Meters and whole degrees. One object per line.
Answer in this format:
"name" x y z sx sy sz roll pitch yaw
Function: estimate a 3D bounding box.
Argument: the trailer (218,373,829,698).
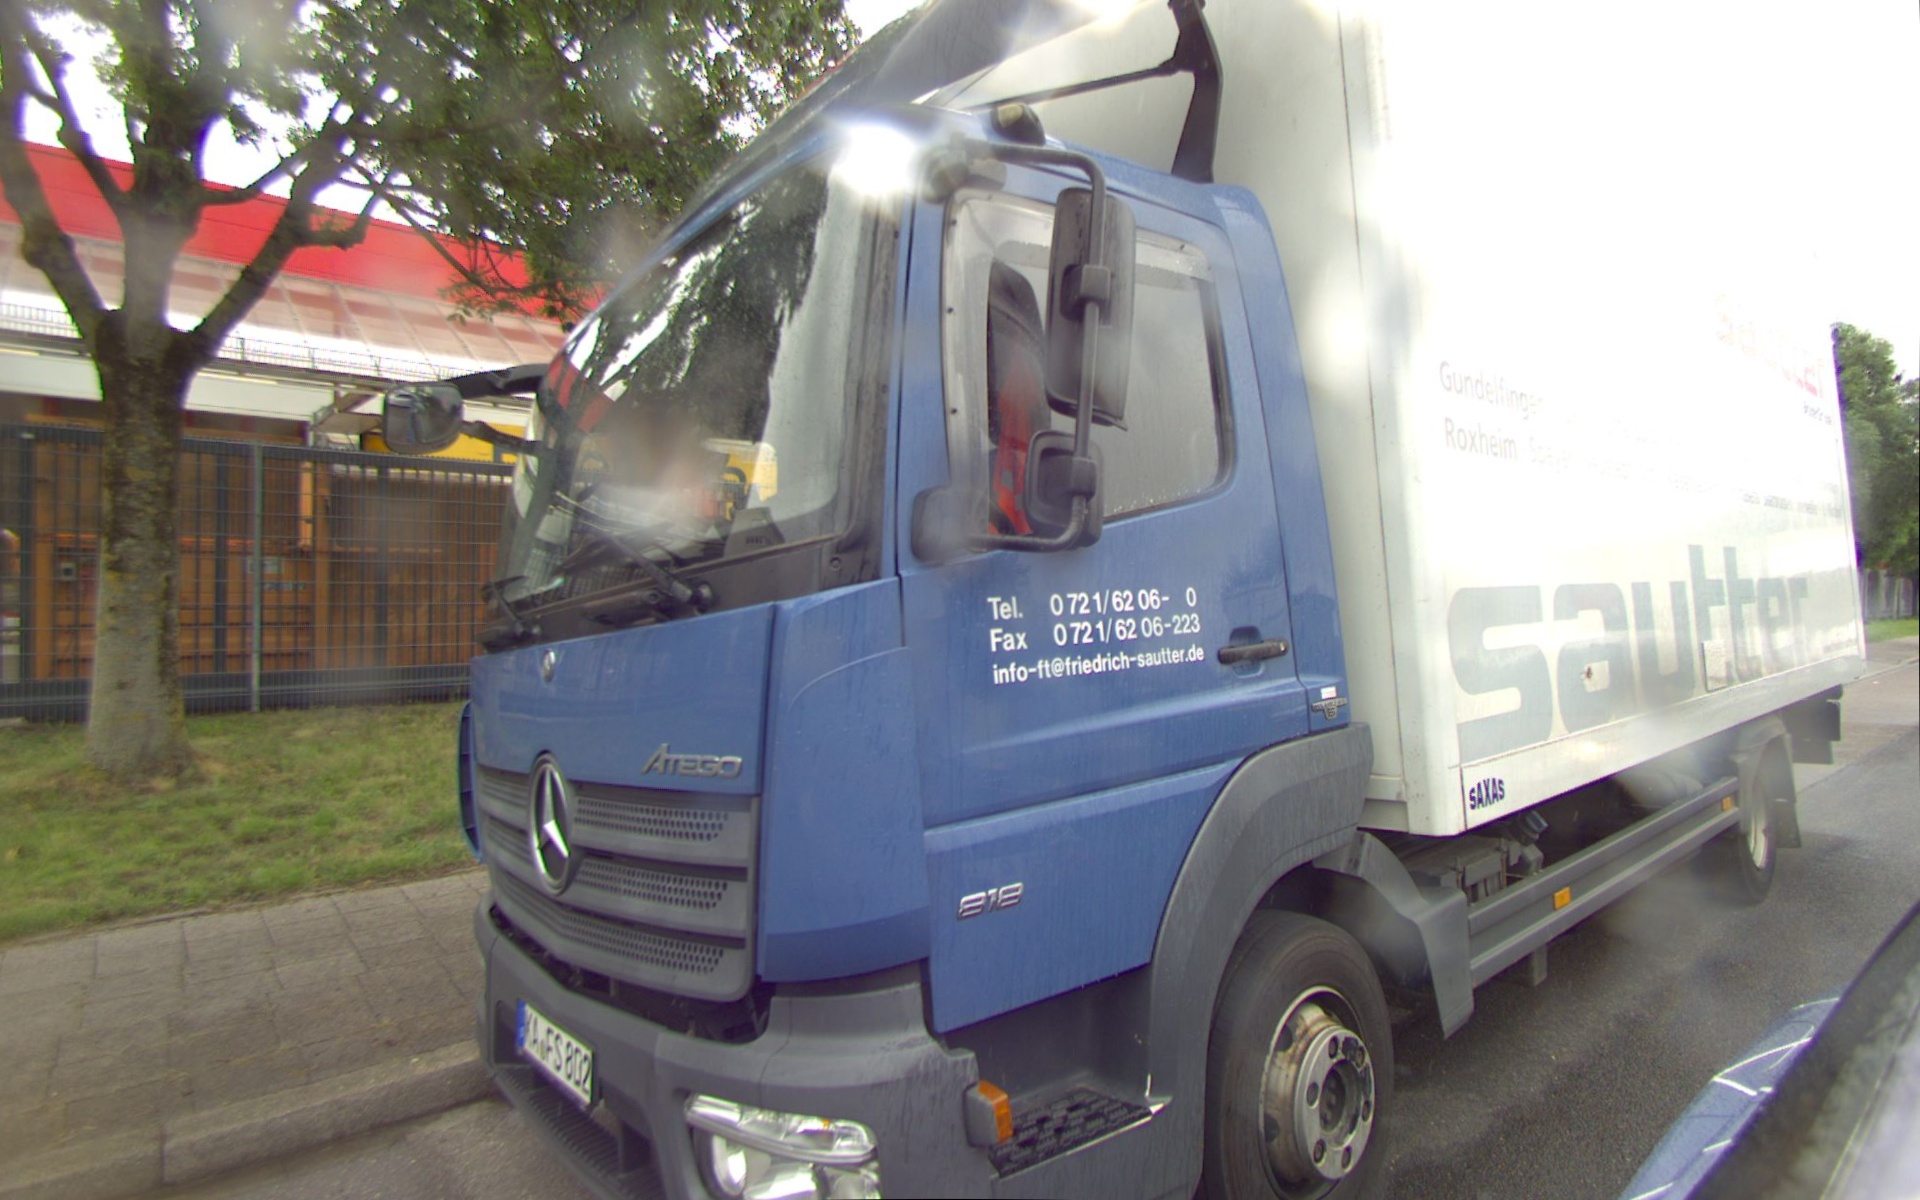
"trailer" -6.995 -0.984 17.575 9.306 4.295 2.972 -2 2 -41

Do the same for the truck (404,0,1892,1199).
"truck" 1.986 -0.390 4.908 7.867 3.740 2.676 0 -2 -40
